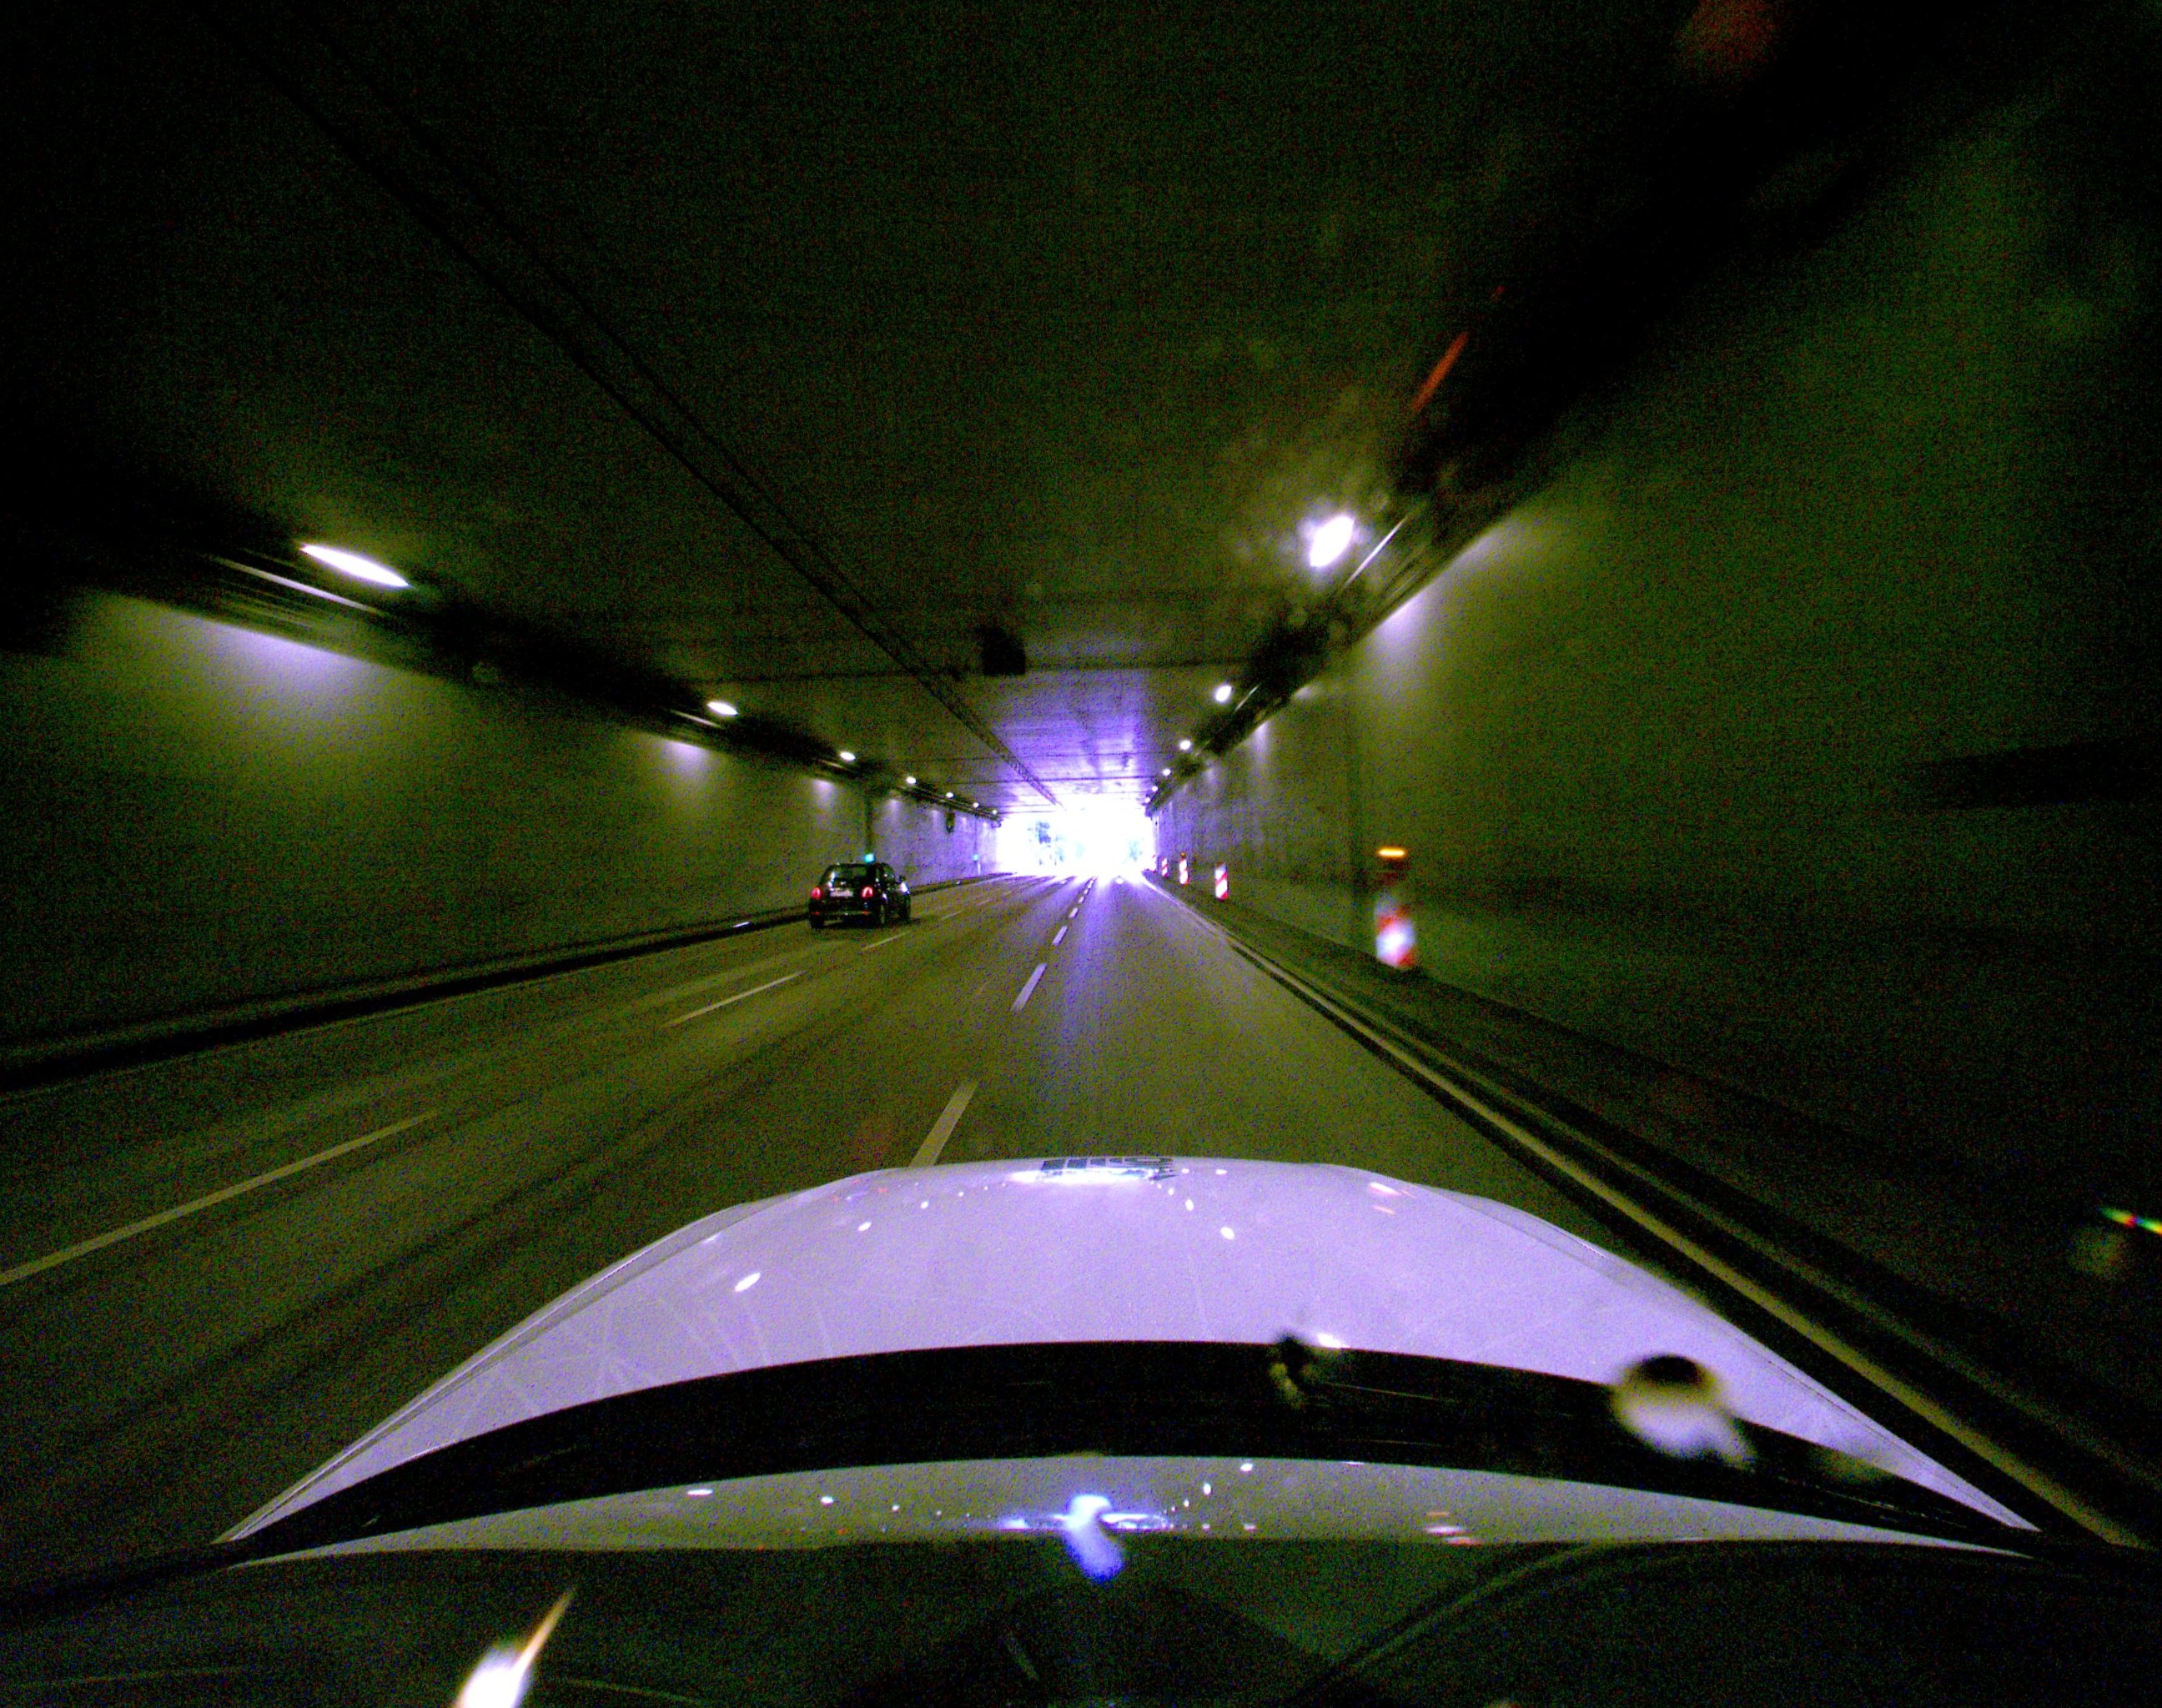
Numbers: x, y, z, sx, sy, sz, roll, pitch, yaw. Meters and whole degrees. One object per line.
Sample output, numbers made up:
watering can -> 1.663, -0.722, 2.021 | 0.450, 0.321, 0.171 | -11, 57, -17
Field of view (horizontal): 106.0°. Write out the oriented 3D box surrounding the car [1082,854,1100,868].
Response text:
car -> 1.140, 0.835, 94.835 | 1.988, 1.448, 4.312 | -2, -1, -1

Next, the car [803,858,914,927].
car -> -5.153, 0.843, 19.311 | 1.607, 1.454, 3.573 | -1, 0, 0

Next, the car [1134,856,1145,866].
car -> 11.823, 1.408, 165.214 | 1.986, 2.014, 4.002 | -1, -1, 2

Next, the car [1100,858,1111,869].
car -> 4.500, 1.787, 151.381 | 1.986, 2.014, 4.000 | -2, -1, 1

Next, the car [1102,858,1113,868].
car -> 5.246, 1.798, 160.101 | 1.986, 2.014, 4.000 | -2, -1, 1
